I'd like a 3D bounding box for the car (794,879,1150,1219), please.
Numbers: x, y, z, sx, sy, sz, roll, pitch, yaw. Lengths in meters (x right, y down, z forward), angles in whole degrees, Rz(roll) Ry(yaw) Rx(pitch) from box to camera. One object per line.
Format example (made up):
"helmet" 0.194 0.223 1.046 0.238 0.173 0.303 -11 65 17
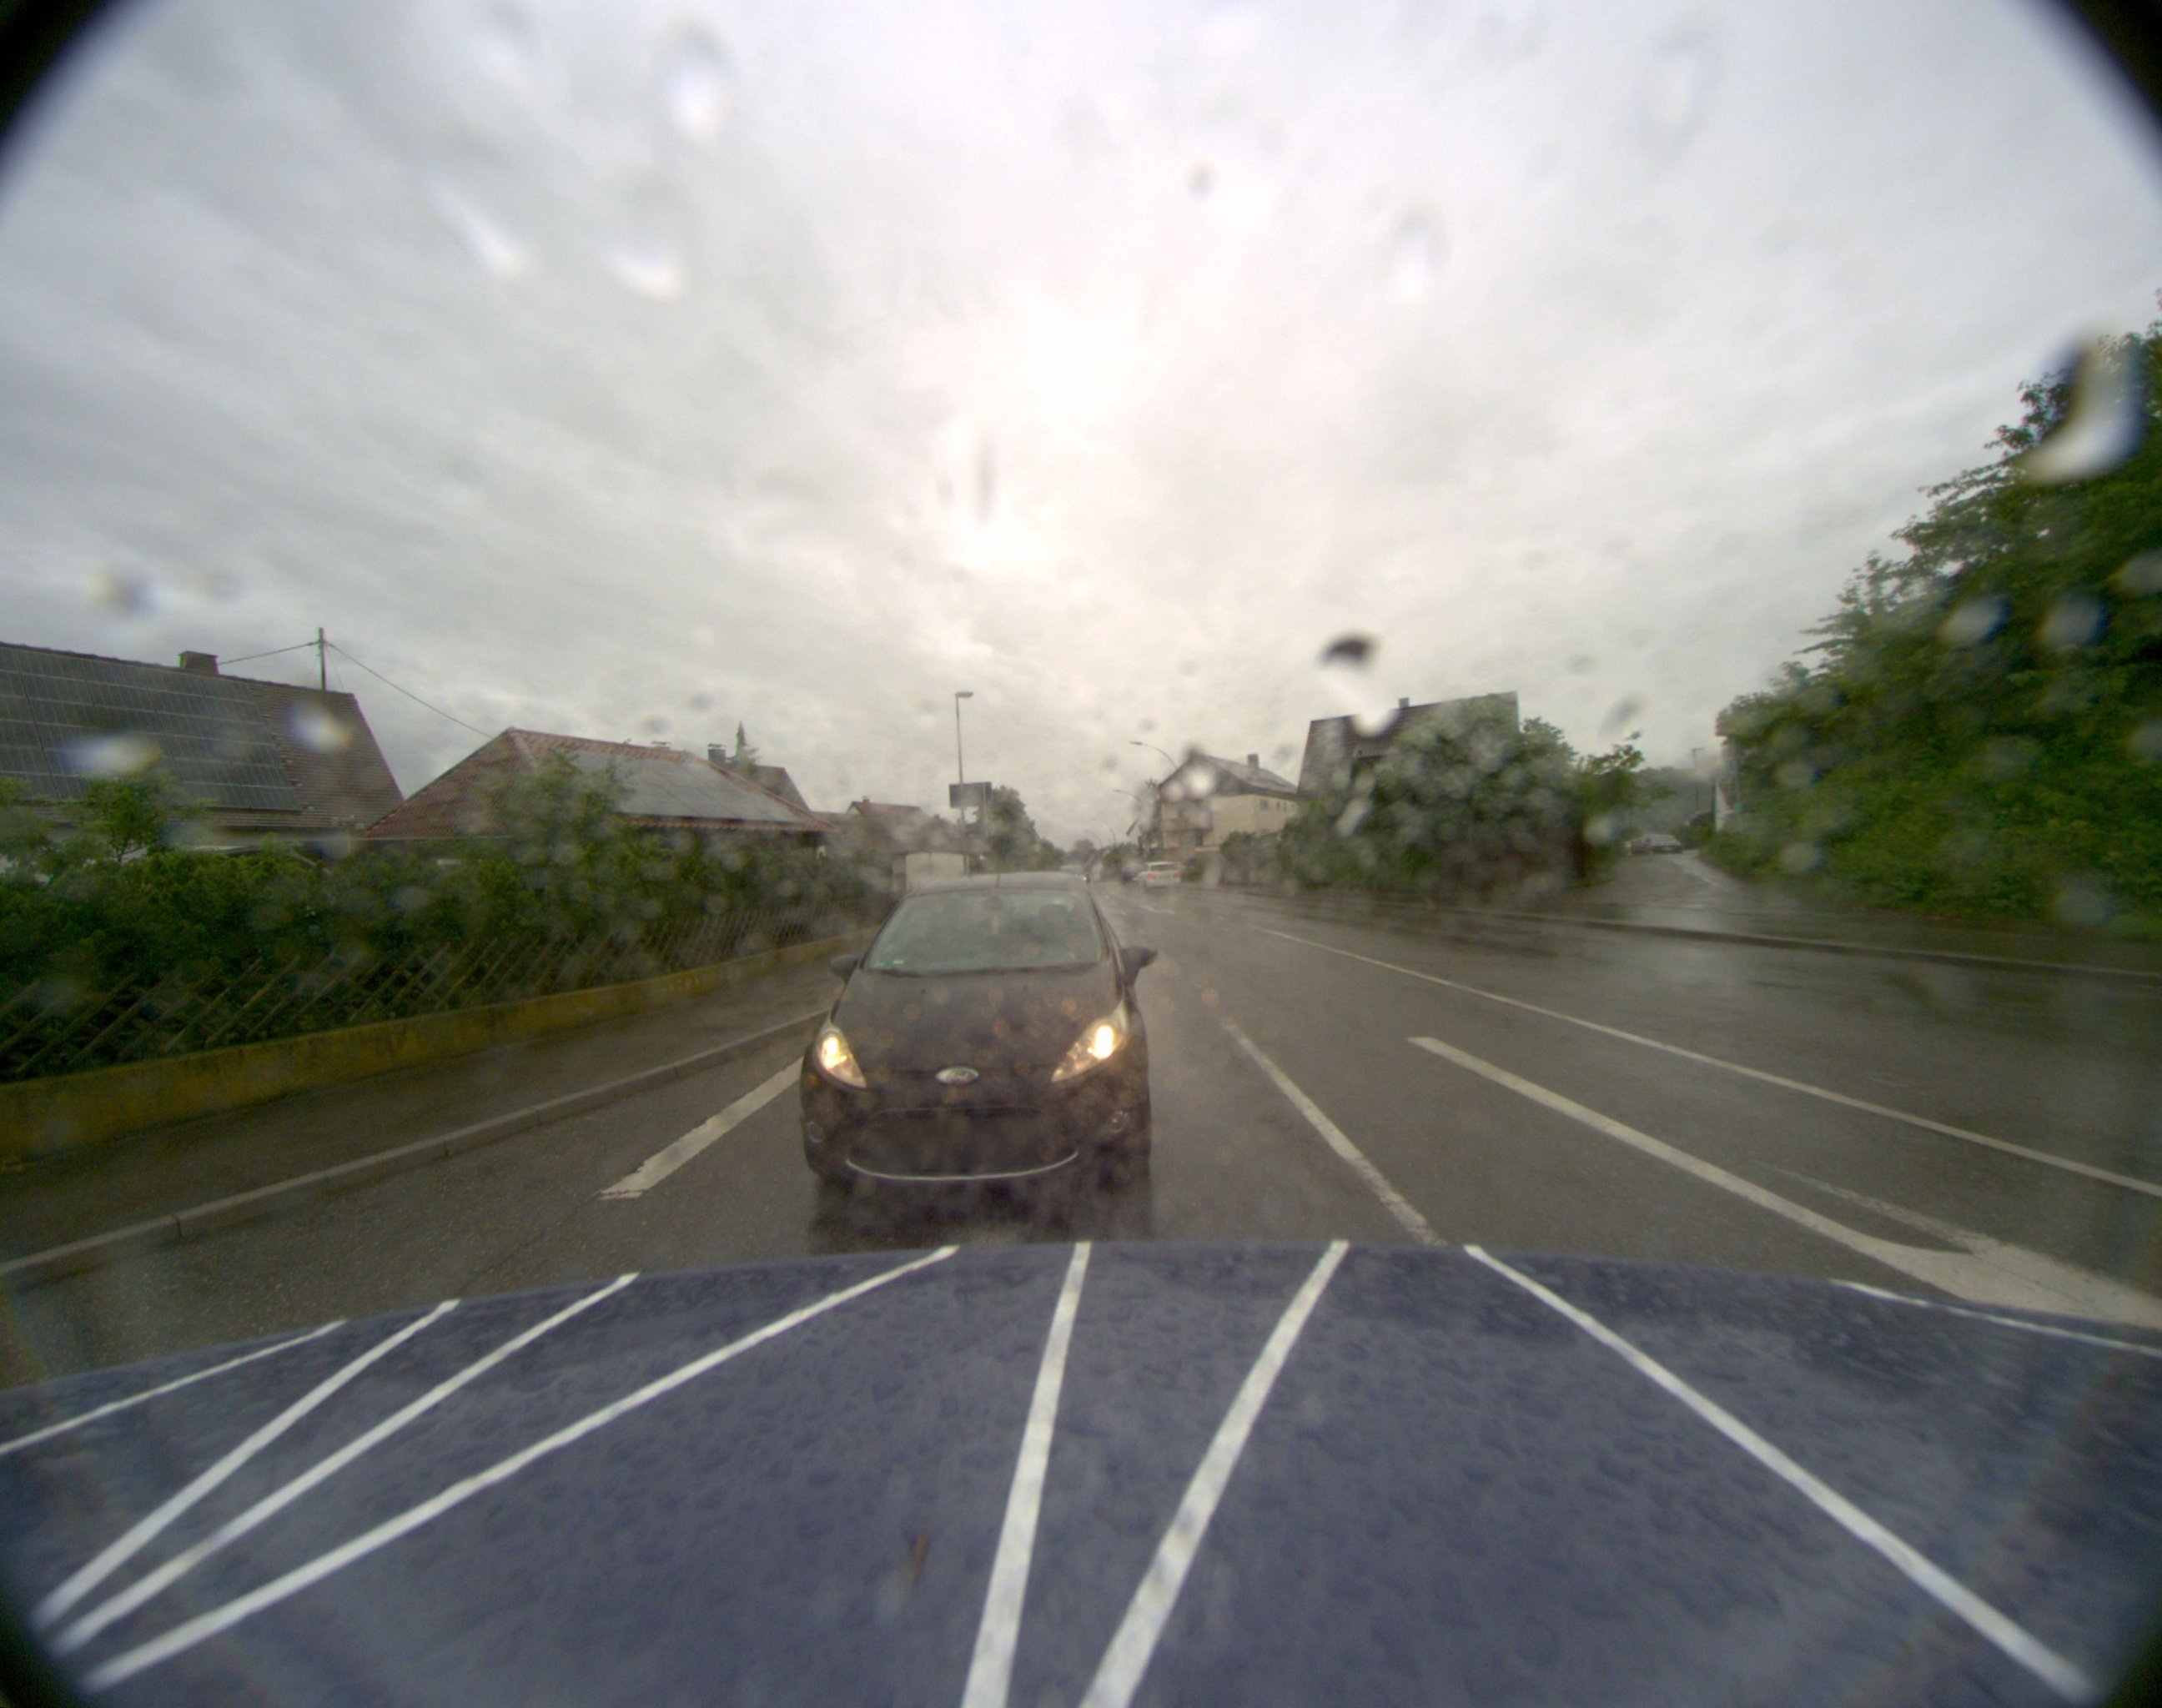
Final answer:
"car" -0.569 1.011 5.655 1.666 1.410 3.931 -2 1 -1

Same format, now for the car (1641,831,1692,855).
"car" 40.739 -0.749 52.948 1.895 1.474 4.007 -2 0 24

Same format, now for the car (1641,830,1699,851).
"car" 45.602 -1.014 58.947 1.997 1.477 4.004 -3 0 13

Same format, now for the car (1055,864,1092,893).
"car" -0.454 1.315 42.396 1.899 1.474 3.999 -2 0 -3

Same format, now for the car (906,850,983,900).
"car" -6.884 1.026 38.675 1.650 2.337 4.007 -2 0 27

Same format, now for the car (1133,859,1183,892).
"car" 3.931 1.071 39.438 1.669 1.496 4.319 -3 0 -6

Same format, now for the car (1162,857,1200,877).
"car" 8.815 1.101 66.902 1.661 1.538 4.007 -2 1 34

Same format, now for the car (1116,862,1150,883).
"car" 3.810 1.371 56.377 1.670 1.430 4.105 0 0 -8
